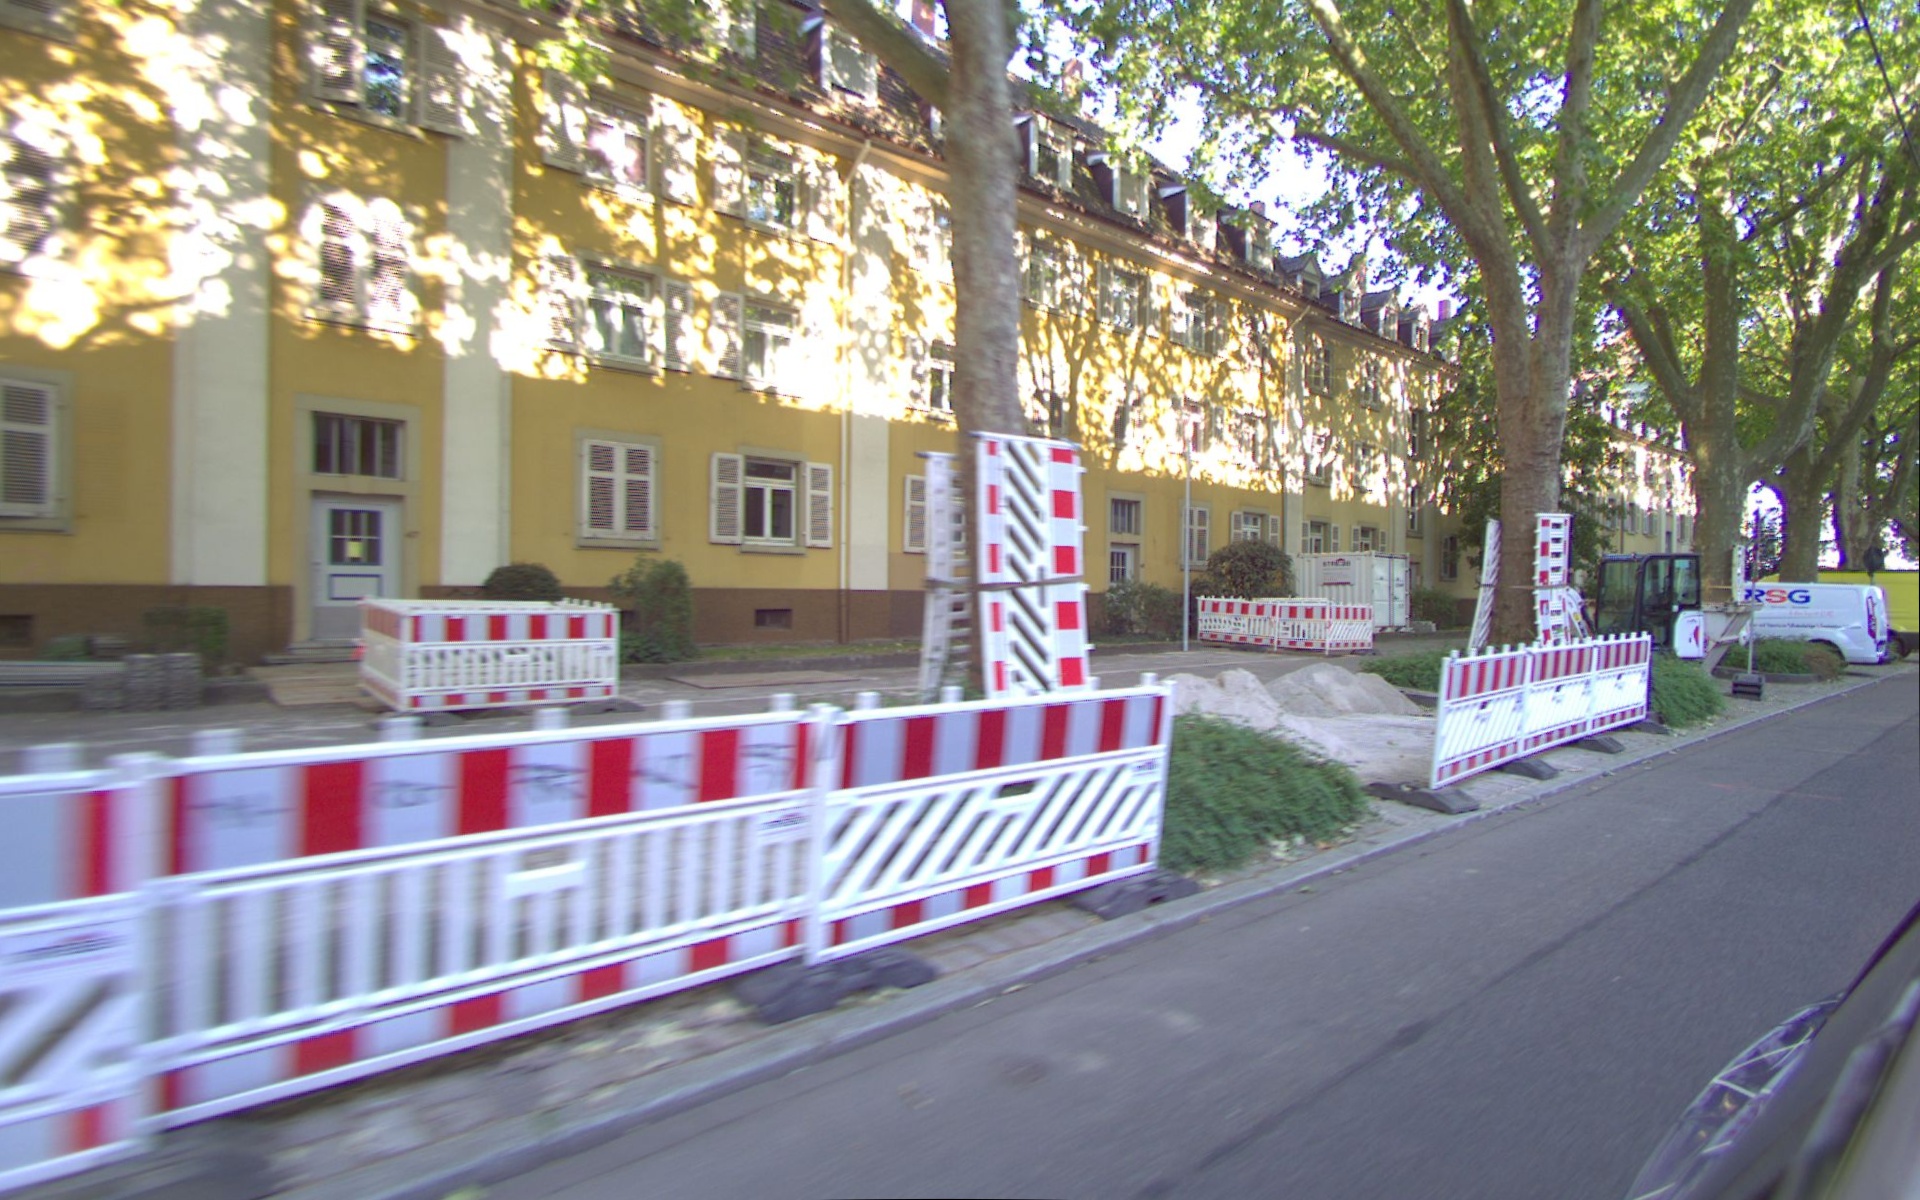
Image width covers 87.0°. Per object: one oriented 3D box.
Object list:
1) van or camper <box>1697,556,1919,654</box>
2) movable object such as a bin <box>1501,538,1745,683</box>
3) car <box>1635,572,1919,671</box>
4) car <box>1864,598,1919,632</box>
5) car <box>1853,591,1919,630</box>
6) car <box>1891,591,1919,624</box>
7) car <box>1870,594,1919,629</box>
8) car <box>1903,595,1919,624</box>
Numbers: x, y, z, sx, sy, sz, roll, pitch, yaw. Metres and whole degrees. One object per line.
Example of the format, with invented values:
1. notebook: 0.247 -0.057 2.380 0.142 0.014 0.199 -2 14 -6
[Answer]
1. van or camper: 25.625 0.069 29.846 2.229 2.662 5.940 -1 2 -38
2. movable object such as a bin: 11.073 0.170 17.003 3.210 2.298 1.488 0 0 -7
3. car: 18.698 0.395 23.340 2.027 2.038 4.843 1 1 -41
4. car: 44.032 0.726 46.327 1.832 1.441 3.661 1 2 -40
5. car: 46.079 0.535 48.718 1.806 1.753 4.322 1 1 -37
6. car: 58.426 0.521 59.610 1.881 1.878 5.123 -1 3 -41
7. car: 48.033 0.591 49.956 1.875 1.678 4.432 0 2 -42
8. car: 53.061 0.575 53.999 1.712 1.516 3.885 0 1 -43
